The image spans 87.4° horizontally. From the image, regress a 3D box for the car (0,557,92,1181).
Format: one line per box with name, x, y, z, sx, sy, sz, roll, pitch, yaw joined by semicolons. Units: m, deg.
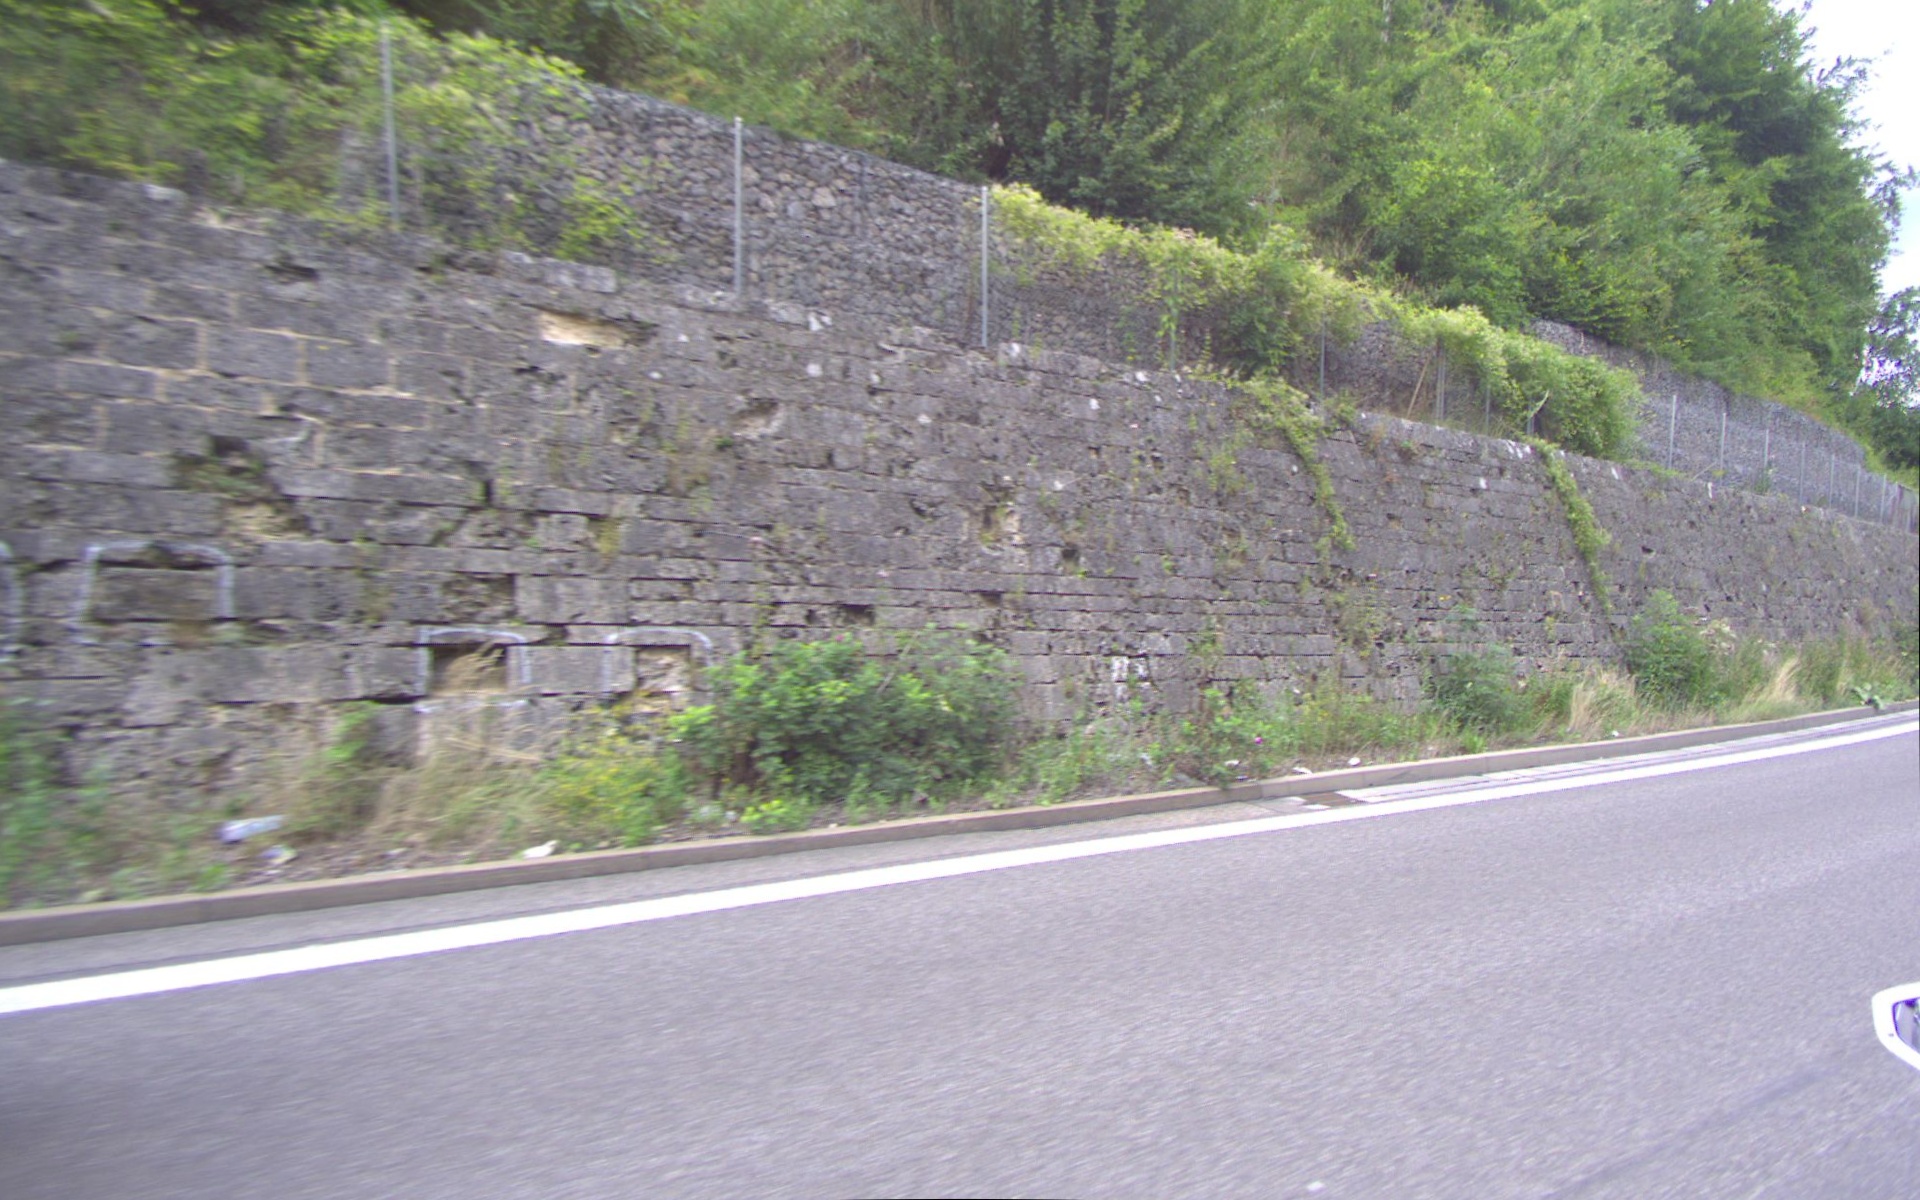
car;-4.719;0.619;0.975;5.519;1.614;1.962;2;1;-30
